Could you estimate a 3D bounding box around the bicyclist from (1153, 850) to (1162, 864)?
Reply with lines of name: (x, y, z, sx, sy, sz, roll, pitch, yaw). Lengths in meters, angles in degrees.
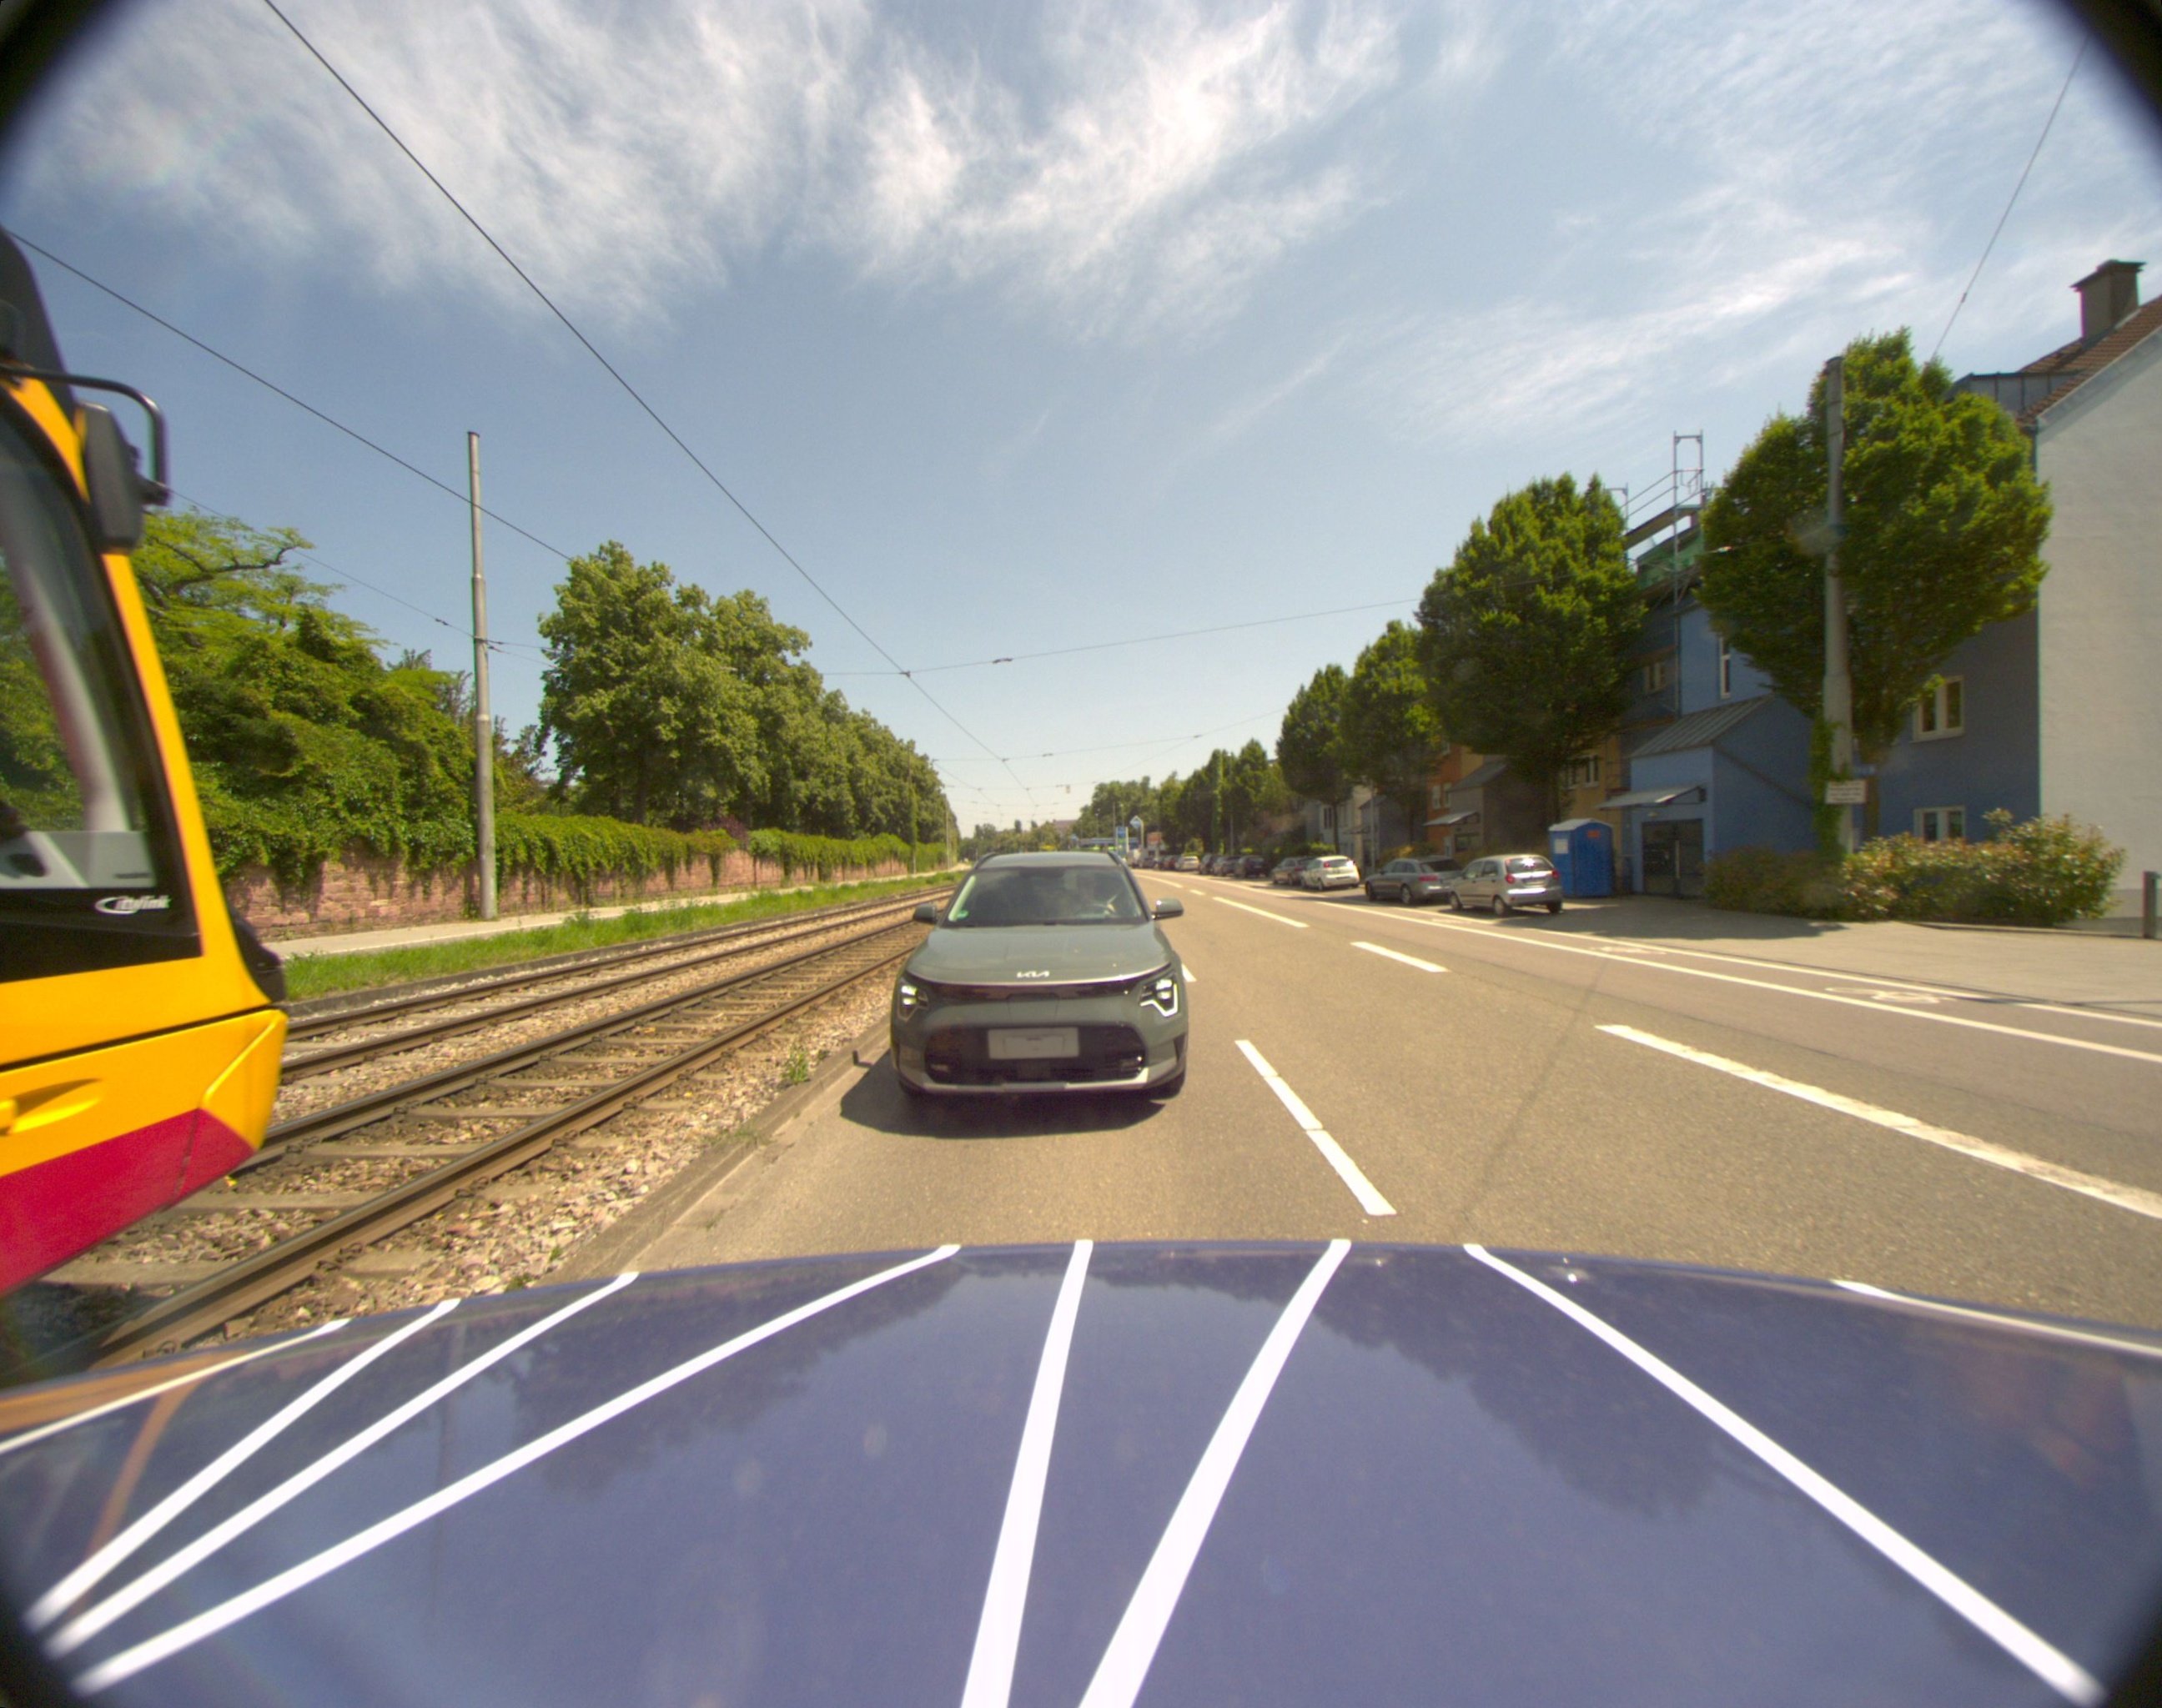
bicyclist: (7.770, 0.316, 77.144, 0.737, 1.422, 1.124, 2, 1, -2)

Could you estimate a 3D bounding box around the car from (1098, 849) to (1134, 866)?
car: (5.659, 0.552, 121.529, 5.218, 2.294, 2.288, -3, 0, 19)

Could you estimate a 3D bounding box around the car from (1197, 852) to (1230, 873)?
car: (10.918, 0.673, 62.801, 1.772, 1.579, 4.147, -3, 0, -3)

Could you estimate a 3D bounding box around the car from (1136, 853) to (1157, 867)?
car: (8.060, 0.761, 94.077, 1.870, 1.528, 4.142, -3, 0, -4)

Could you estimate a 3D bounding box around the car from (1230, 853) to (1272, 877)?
car: (11.508, 0.701, 51.691, 1.754, 1.424, 4.257, -4, 0, 0)

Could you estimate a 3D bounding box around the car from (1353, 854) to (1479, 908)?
car: (10.967, 0.835, 25.321, 1.791, 1.441, 5.133, -5, -1, 0)

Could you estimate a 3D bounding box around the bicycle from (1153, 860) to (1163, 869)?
bicycle: (7.779, 1.072, 77.302, 0.703, 0.945, 2.243, 1, -1, -2)

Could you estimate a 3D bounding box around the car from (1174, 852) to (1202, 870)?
car: (10.437, 0.642, 74.122, 1.845, 1.573, 4.495, -3, 0, -2)

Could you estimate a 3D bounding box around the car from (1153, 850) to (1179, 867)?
car: (9.498, 0.499, 85.222, 1.999, 1.783, 4.556, -2, 0, -5)

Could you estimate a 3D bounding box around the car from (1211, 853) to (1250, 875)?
car: (11.178, 0.704, 56.981, 1.830, 1.487, 4.756, -3, 0, -1)

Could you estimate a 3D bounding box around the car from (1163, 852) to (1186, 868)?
car: (9.828, 0.672, 80.014, 1.604, 1.584, 3.680, -3, 0, -6)

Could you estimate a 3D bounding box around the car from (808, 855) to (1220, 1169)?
car: (-0.250, 0.834, 5.942, 2.062, 1.534, 4.001, -3, 0, 3)

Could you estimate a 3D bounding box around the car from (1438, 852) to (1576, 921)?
car: (11.032, 0.778, 19.972, 1.597, 1.487, 3.448, -6, 0, 1)

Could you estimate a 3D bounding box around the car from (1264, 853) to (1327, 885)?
car: (11.351, 0.771, 40.490, 1.708, 1.421, 4.750, -6, 0, -3)

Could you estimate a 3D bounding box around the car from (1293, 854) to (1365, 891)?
car: (11.382, 0.819, 35.182, 1.750, 1.434, 4.420, -6, 0, 0)

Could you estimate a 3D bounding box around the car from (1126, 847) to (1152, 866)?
car: (7.645, 0.355, 100.155, 2.285, 2.294, 5.226, -3, 0, -8)
